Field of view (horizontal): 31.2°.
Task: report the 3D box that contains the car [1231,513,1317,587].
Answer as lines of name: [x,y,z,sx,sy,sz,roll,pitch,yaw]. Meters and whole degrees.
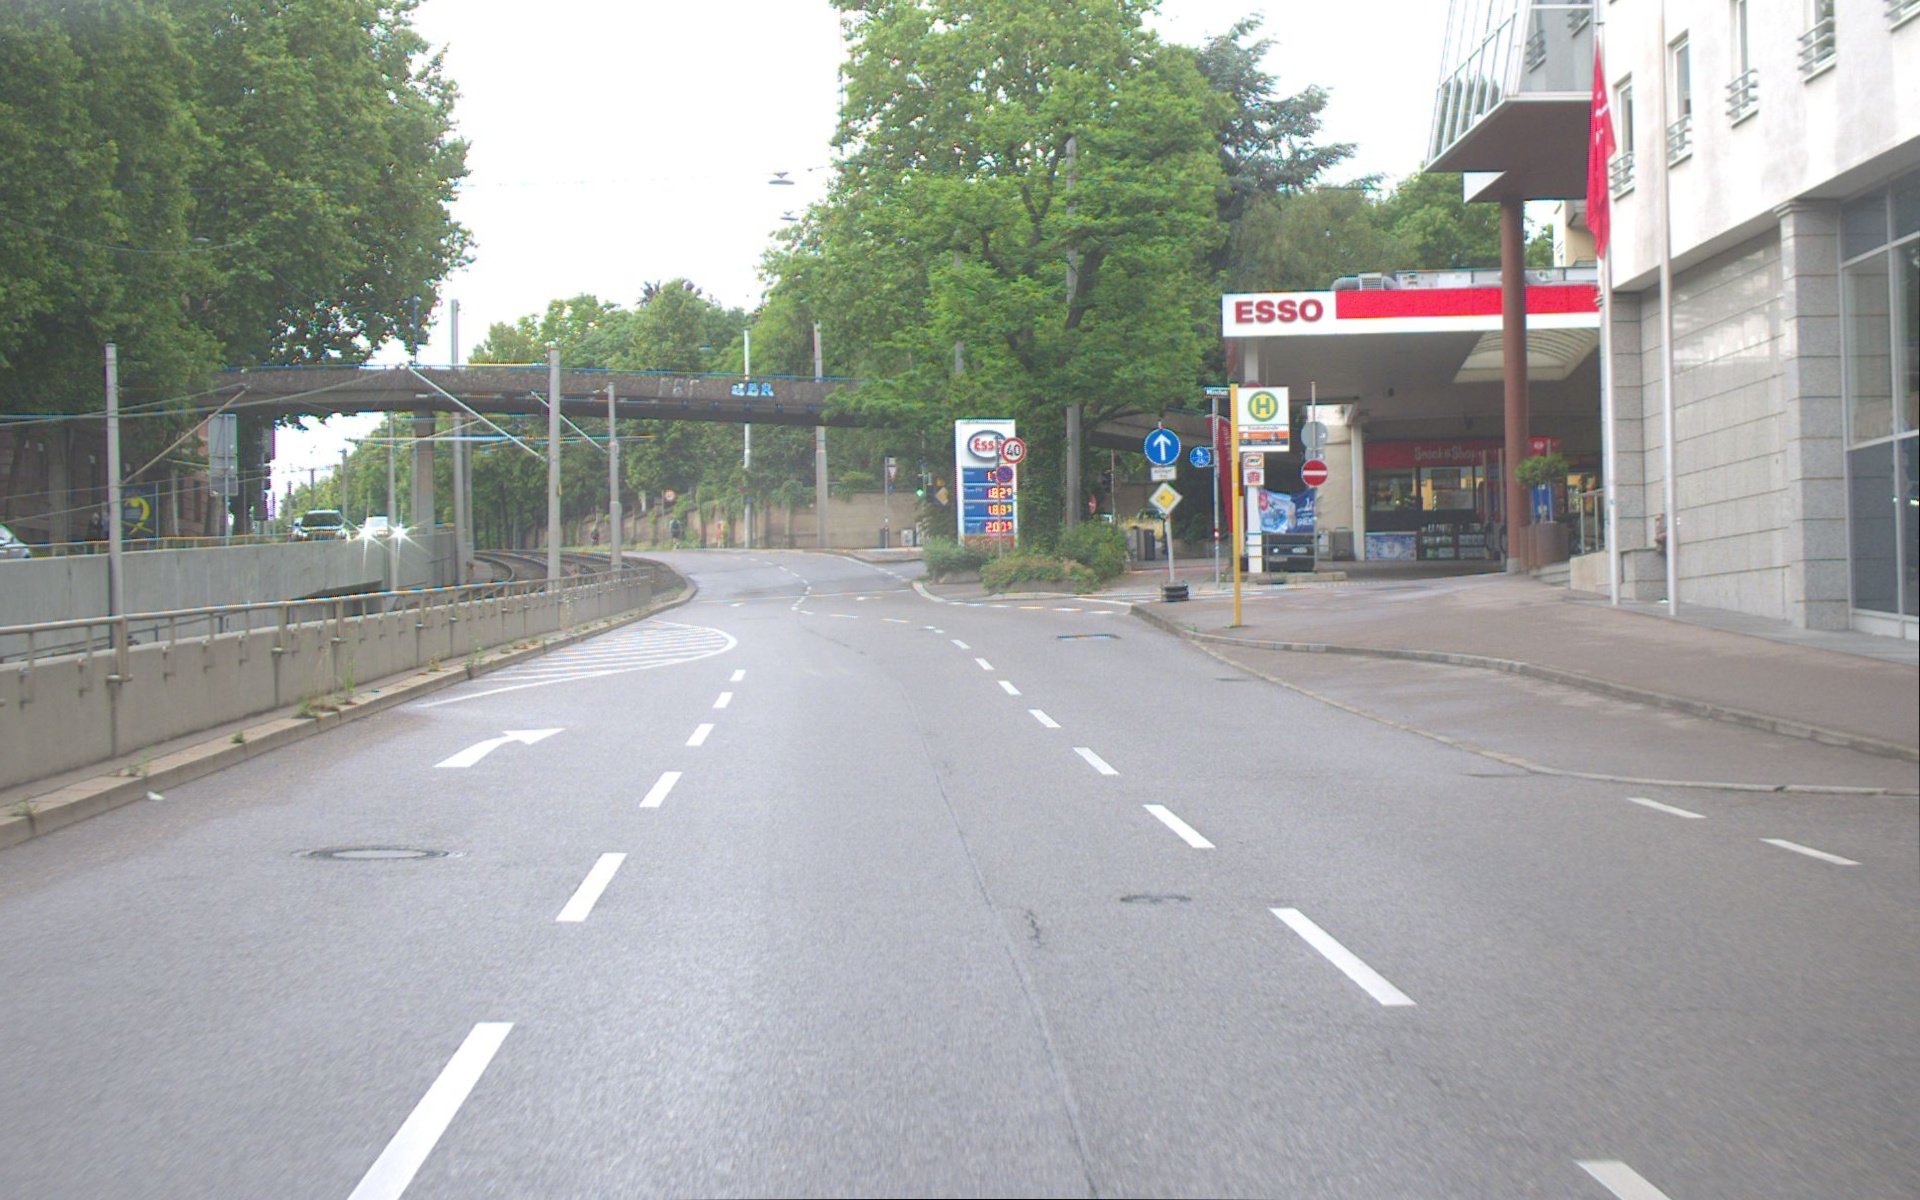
car: [7.334,-1.157,80.172,1.773,1.618,3.865,-3,0,8]

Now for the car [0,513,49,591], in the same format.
car: [-19.484,-0.963,67.177,2.026,1.505,4.883,1,1,0]

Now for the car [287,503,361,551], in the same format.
car: [-25.208,-2.883,136.444,1.956,1.846,4.968,1,1,1]

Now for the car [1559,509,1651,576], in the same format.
car: [15.581,-1.374,83.200,1.794,1.505,3.999,1,0,5]
